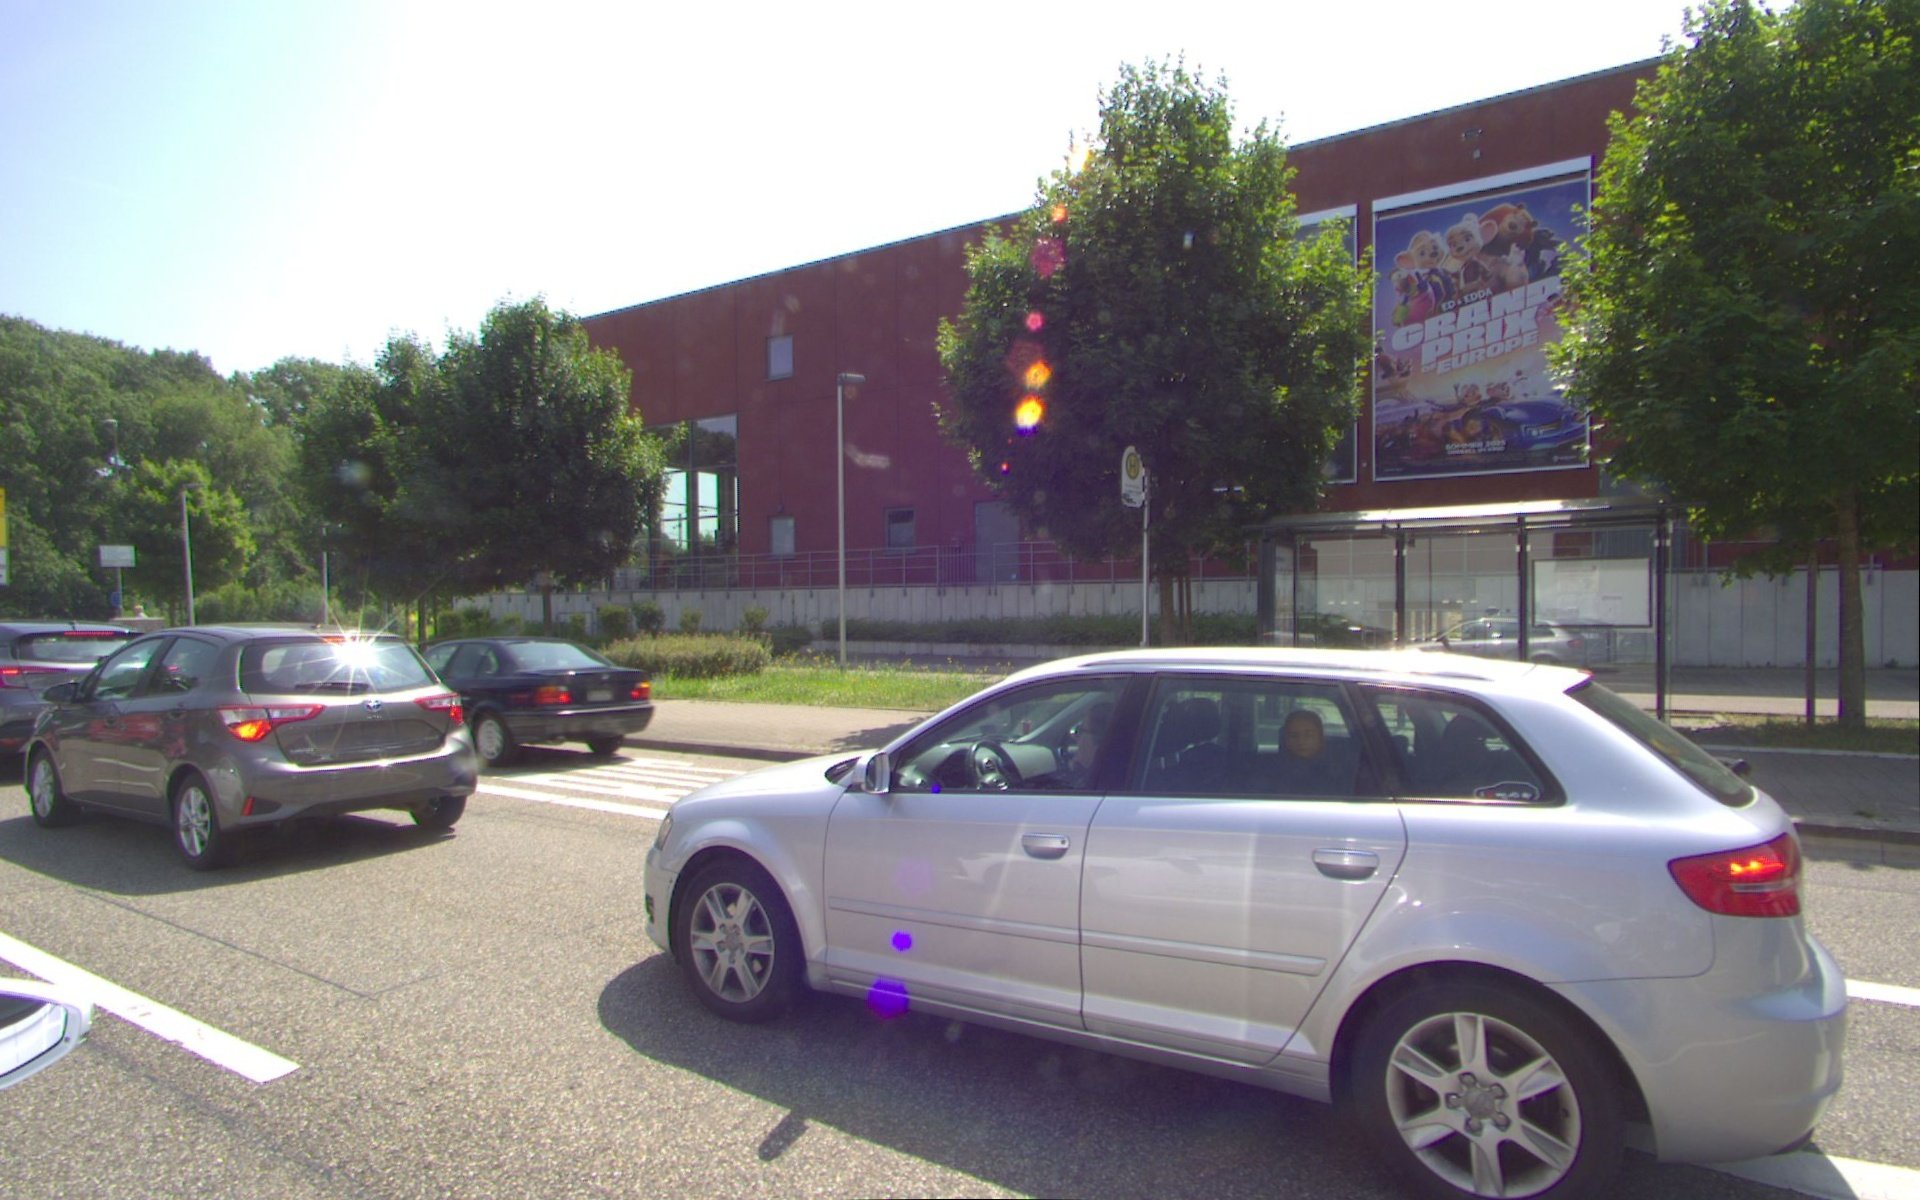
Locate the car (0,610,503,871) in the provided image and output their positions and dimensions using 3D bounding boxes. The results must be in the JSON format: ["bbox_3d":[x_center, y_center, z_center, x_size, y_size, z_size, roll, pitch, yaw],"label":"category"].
[{"bbox_3d":[-5.496,0.882,7.550,4.031,1.496,1.711,-1,-3,31],"label":"car"}]

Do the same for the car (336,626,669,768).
[{"bbox_3d":[-5.486,1.032,11.866,4.086,1.388,1.635,0,-2,33],"label":"car"}]

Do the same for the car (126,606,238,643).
[{"bbox_3d":[-38.533,1.198,49.675,1.853,1.712,3.975,0,0,34],"label":"car"}]

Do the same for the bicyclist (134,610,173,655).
[{"bbox_3d":[-26.878,1.080,33.367,0.814,1.458,0.598,-1,1,-16],"label":"bicyclist"}]

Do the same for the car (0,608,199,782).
[{"bbox_3d":[-10.274,0.912,10.972,4.031,1.614,1.709,-1,-1,31],"label":"car"}]

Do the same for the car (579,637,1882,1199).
[{"bbox_3d":[0.595,0.854,3.842,4.031,1.379,1.710,-1,-2,31],"label":"car"}]
